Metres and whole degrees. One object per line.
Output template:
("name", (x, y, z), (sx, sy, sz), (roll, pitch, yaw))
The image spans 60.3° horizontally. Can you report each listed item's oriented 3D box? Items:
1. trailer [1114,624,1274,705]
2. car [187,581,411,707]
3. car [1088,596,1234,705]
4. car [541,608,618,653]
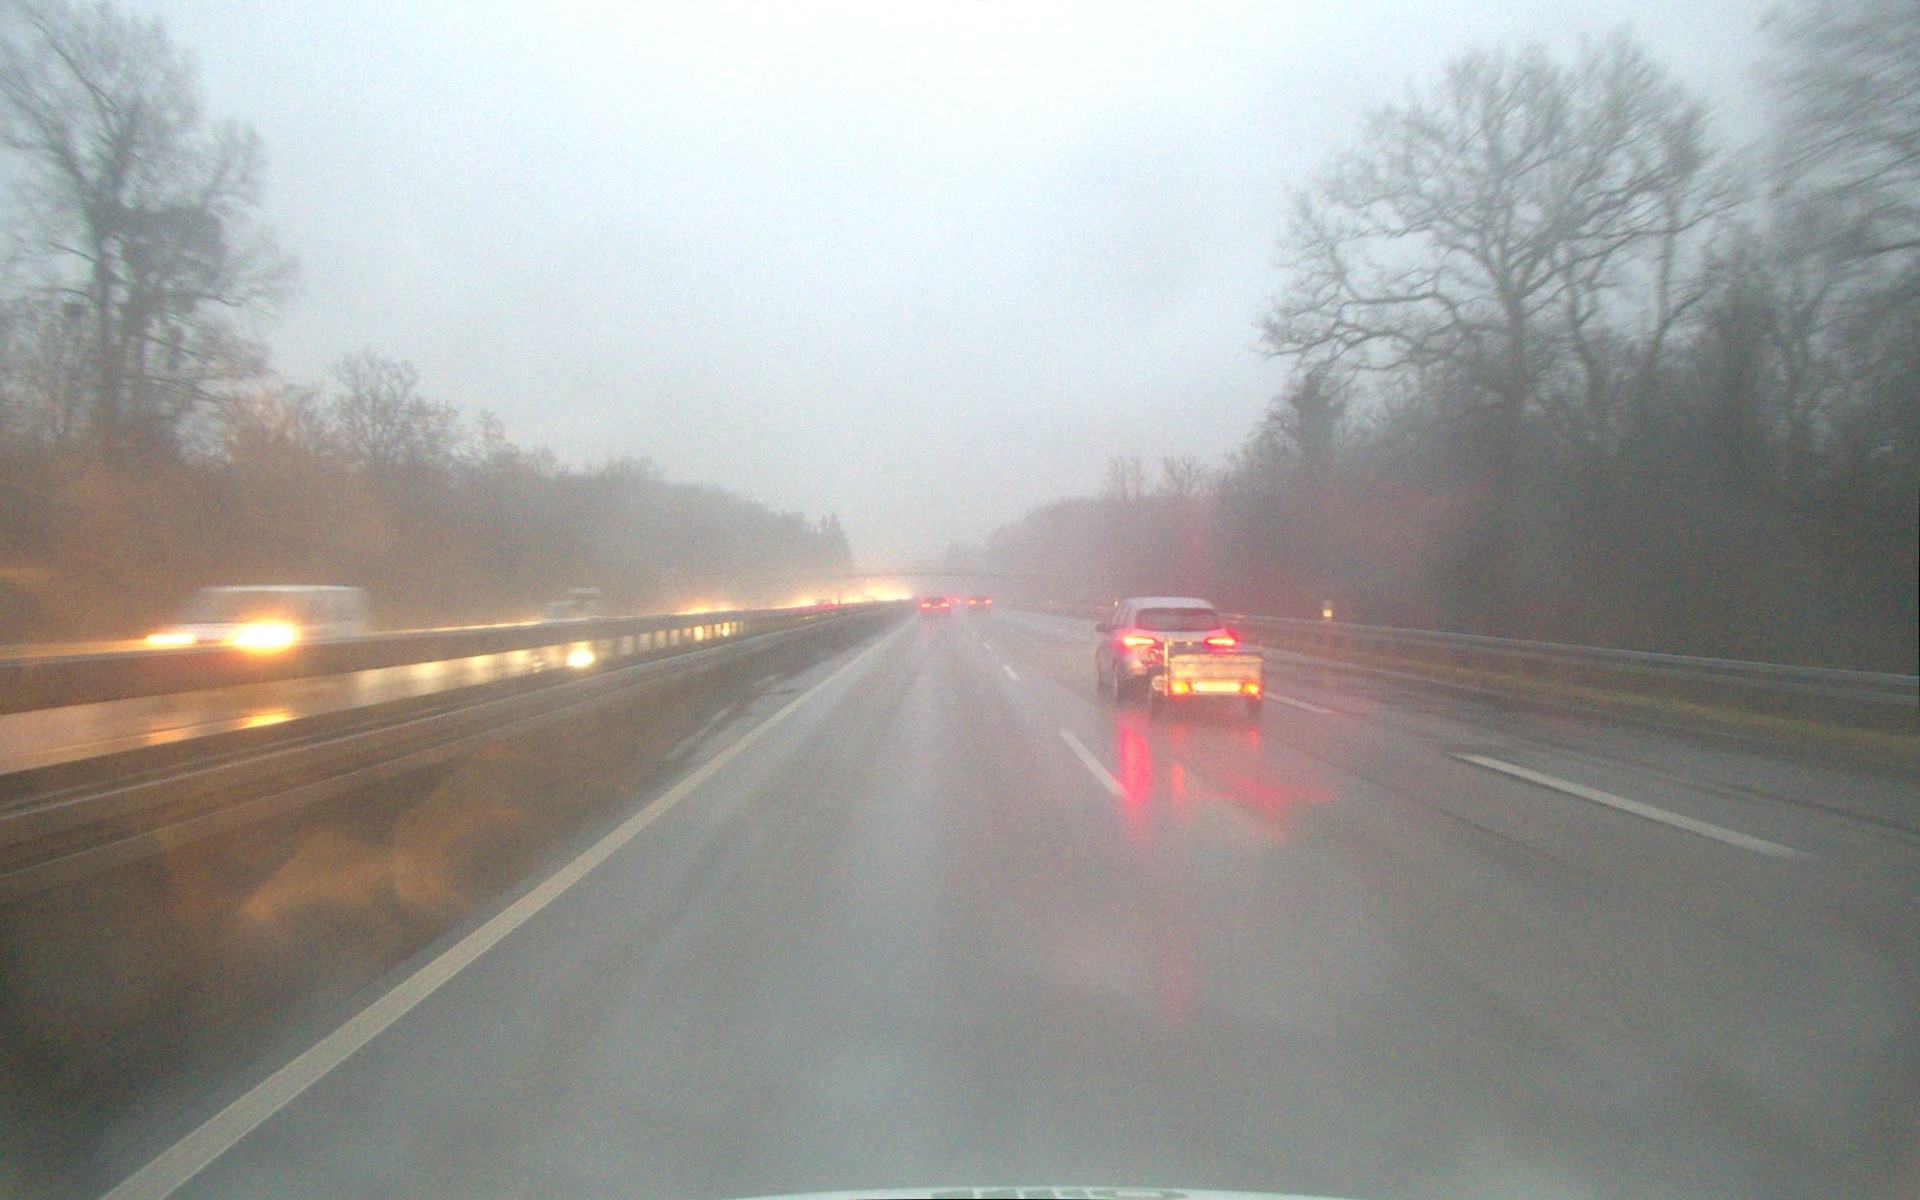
("trailer", (3.135, 0.847, 22.676), (1.712, 0.941, 2.950), (-1, 0, -1))
("car", (-11.757, 0.743, 29.864), (1.953, 2.049, 5.255), (-1, 0, 0))
("car", (3.086, 0.740, 26.077), (1.750, 1.543, 3.810), (-1, 0, -1))
("car", (-12.801, 1.003, 55.888), (1.669, 1.375, 4.156), (-1, 0, -1))
